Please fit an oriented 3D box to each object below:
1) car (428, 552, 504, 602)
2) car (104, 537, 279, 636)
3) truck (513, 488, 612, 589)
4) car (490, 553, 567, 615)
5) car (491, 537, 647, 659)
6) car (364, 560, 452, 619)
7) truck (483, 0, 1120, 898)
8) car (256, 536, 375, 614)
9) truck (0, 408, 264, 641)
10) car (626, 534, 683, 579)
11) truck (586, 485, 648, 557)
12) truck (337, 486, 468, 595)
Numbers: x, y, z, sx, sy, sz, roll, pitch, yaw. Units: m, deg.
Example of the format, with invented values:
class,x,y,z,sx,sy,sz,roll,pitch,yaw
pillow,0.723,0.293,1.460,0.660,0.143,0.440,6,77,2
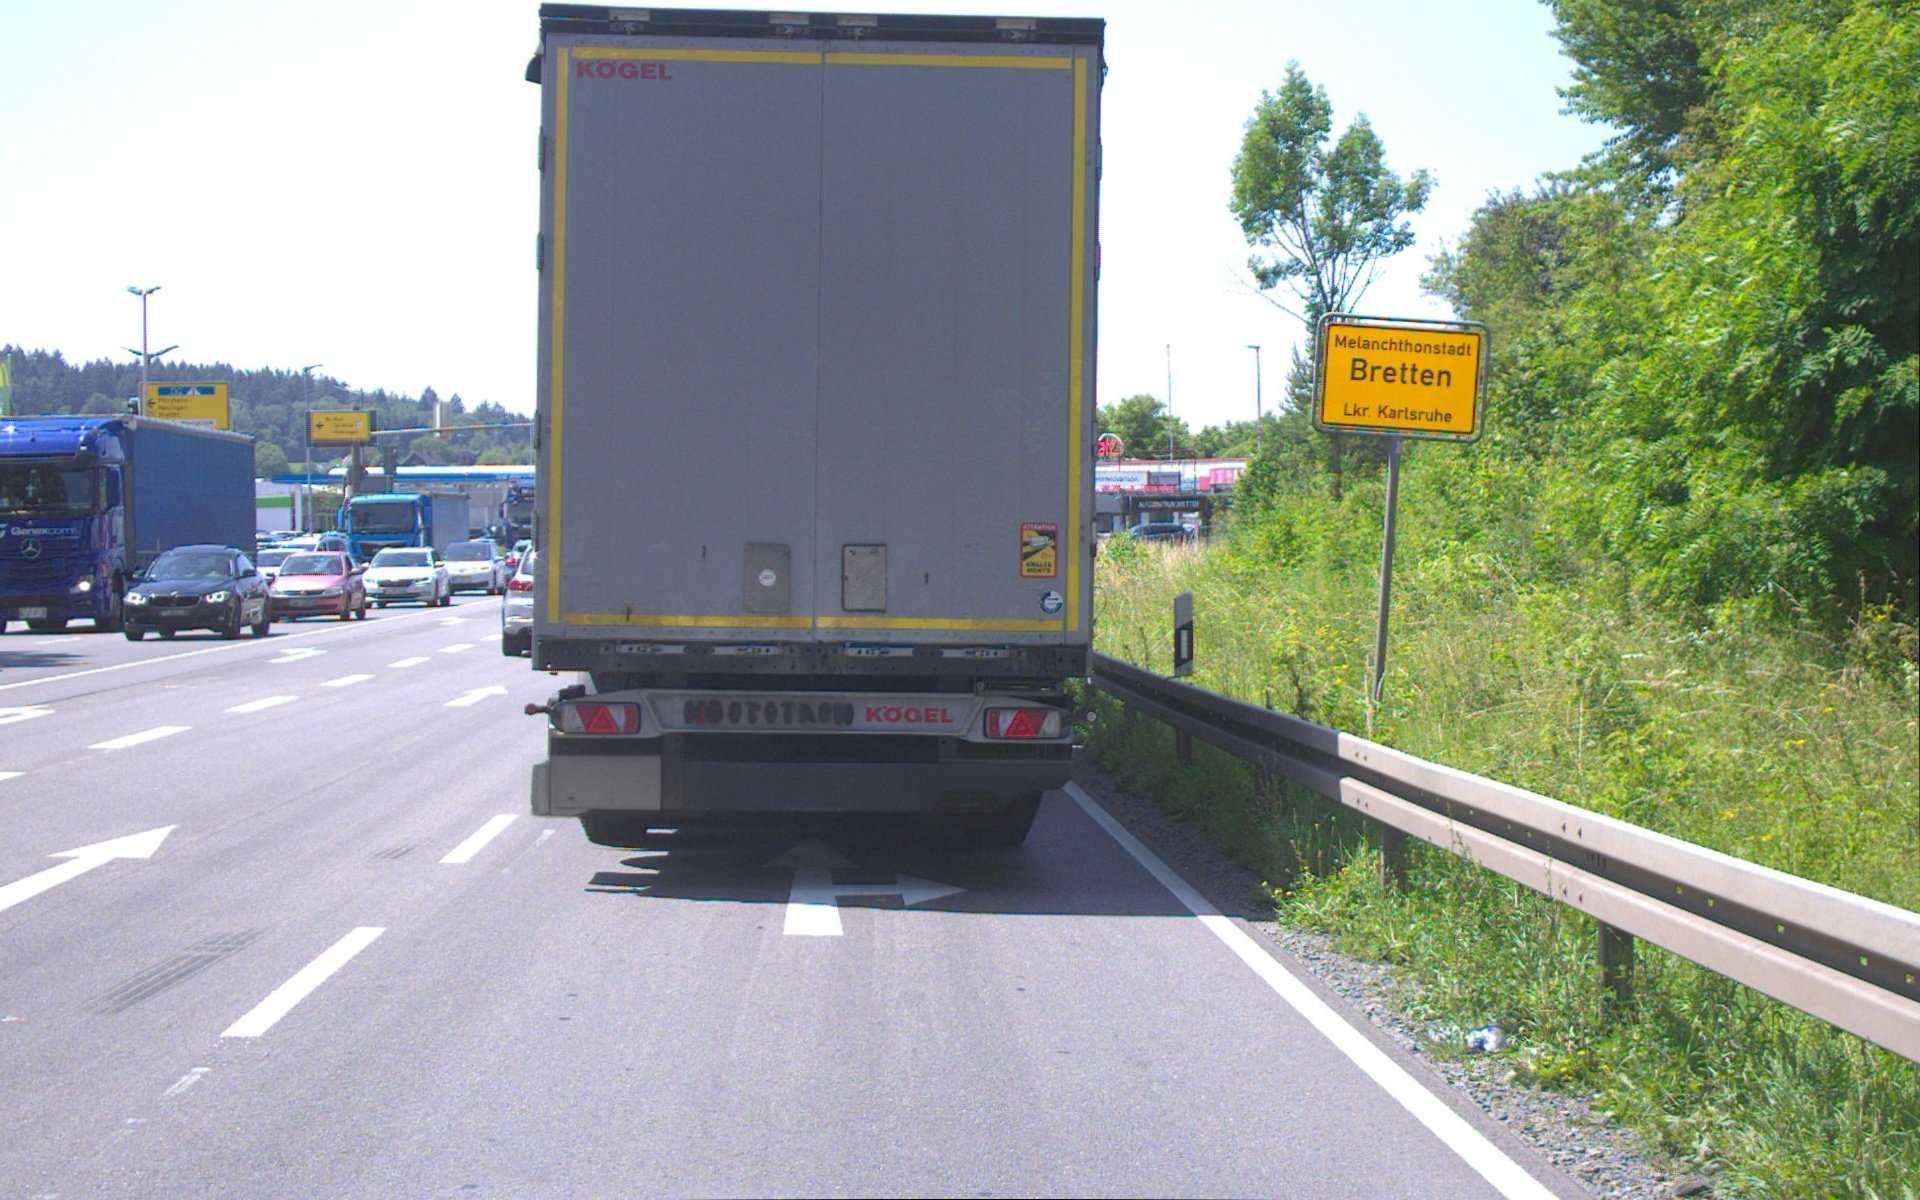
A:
class,x,y,z,sx,sy,sz,roll,pitch,yaw
car,-14.536,-0.684,101.294,1.761,1.423,4.180,0,1,-2
car,-12.664,-0.227,56.894,1.919,1.475,4.687,-3,0,-2
truck,-17.964,-2.762,156.493,3.145,4.334,17.544,0,1,-2
car,-11.468,-0.440,91.621,1.793,1.621,4.370,0,1,-4
car,-5.672,-0.059,50.280,1.804,1.664,4.292,1,1,-1
car,-13.593,-0.267,84.846,1.699,1.410,4.563,0,1,-3
truck,-0.800,-1.157,23.603,2.755,4.623,16.656,1,1,-1
car,-13.100,-0.514,70.056,1.767,1.441,3.776,-4,1,-2
truck,-17.083,-1.458,69.924,2.968,4.162,16.576,0,1,-2
car,-14.291,-2.026,160.974,2.489,2.007,5.529,1,0,-4
truck,-19.370,-4.426,194.684,2.934,3.936,14.239,0,1,-3
truck,-18.002,-1.895,111.691,2.846,3.340,11.483,0,1,-2
